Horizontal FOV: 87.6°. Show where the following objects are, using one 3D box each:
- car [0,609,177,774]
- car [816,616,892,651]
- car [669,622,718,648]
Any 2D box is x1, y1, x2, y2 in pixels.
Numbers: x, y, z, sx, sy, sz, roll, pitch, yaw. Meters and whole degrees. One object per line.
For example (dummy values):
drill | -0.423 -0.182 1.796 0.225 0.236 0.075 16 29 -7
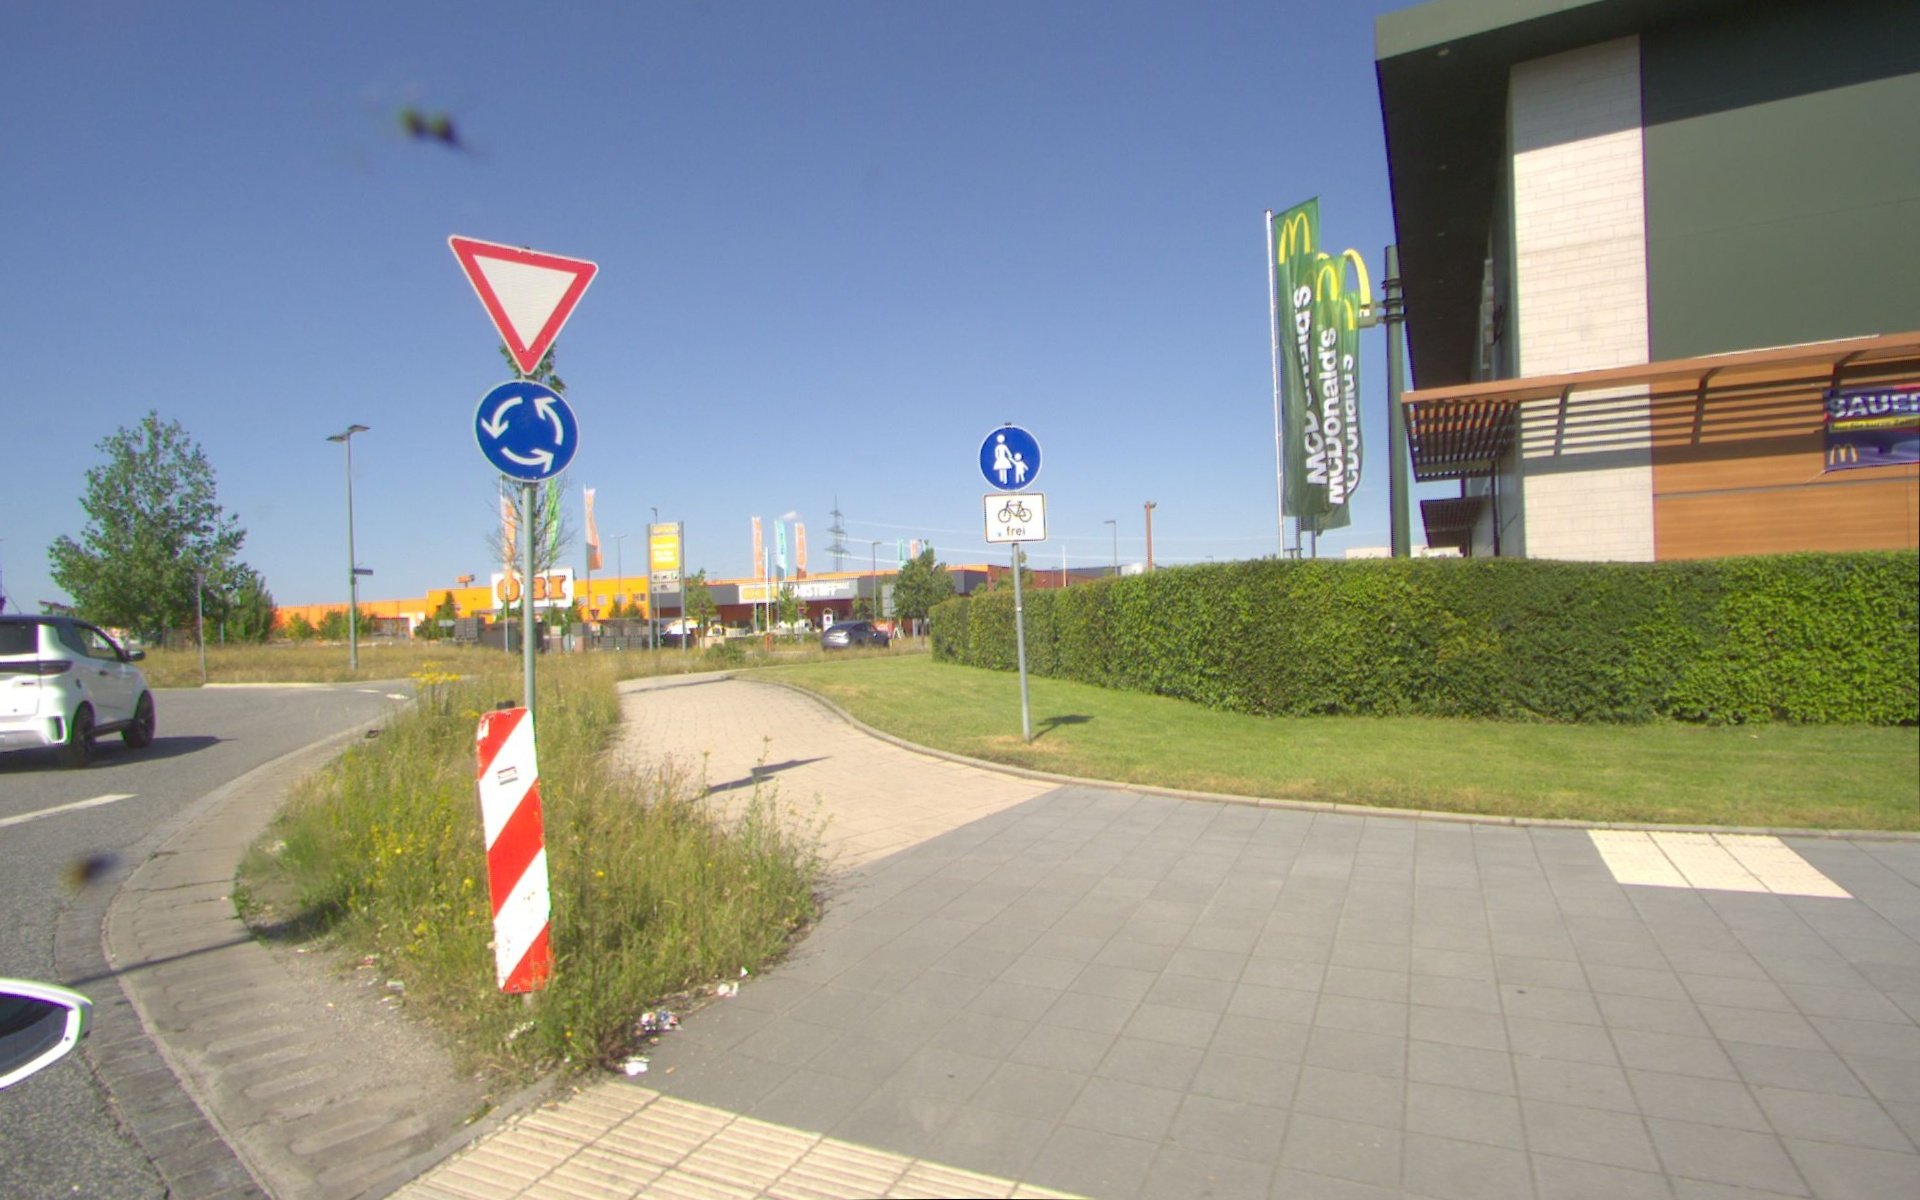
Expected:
car | -9.510 0.834 10.360 1.490 1.459 3.338 1 0 -25
car | -5.171 1.626 49.231 1.802 1.605 4.154 -2 -1 25
car | -20.004 2.634 75.325 1.671 1.864 3.768 -2 -3 21
